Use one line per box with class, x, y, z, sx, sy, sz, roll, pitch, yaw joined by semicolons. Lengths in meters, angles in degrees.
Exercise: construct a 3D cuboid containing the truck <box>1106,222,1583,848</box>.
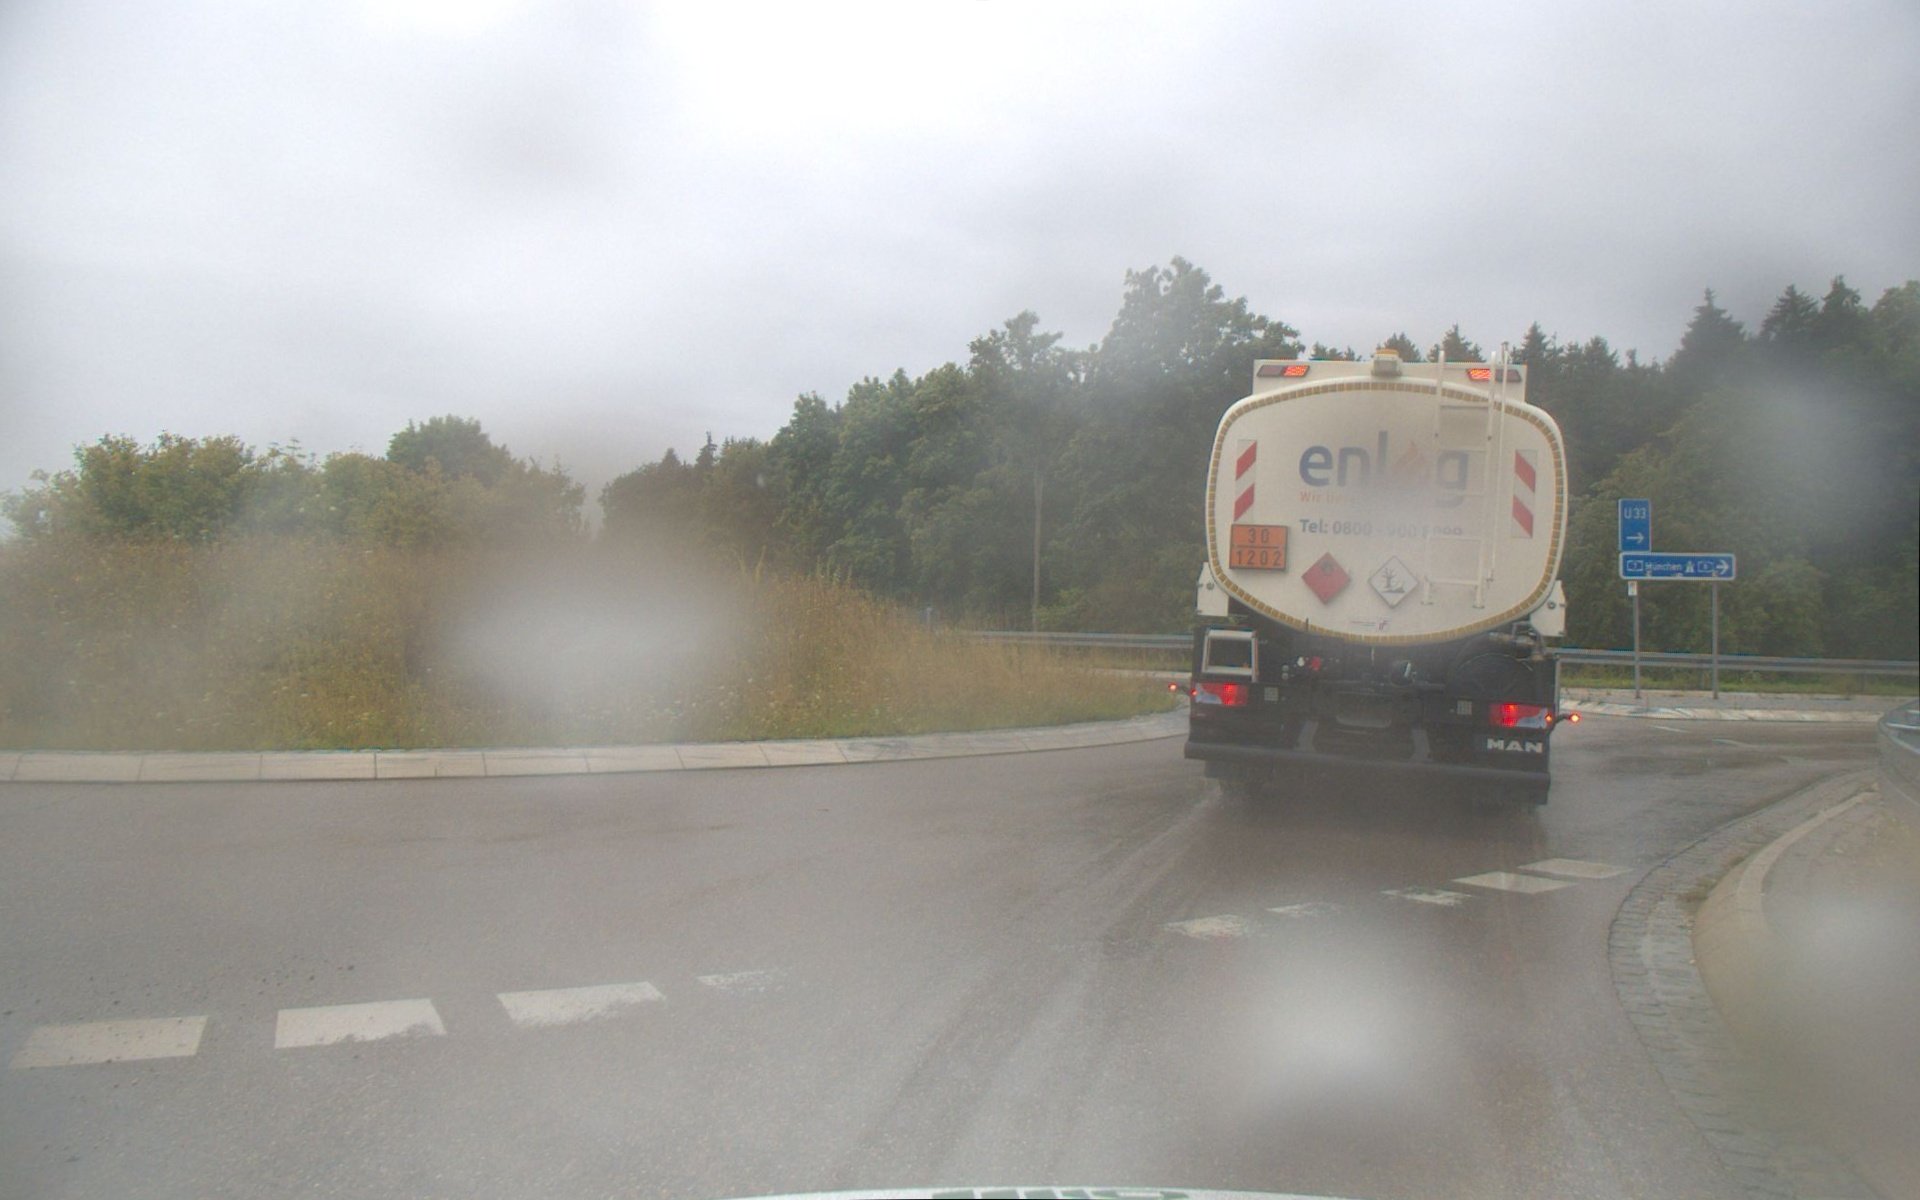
truck;3.839;-0.372;15.013;2.976;3.919;8.825;1;-1;18
